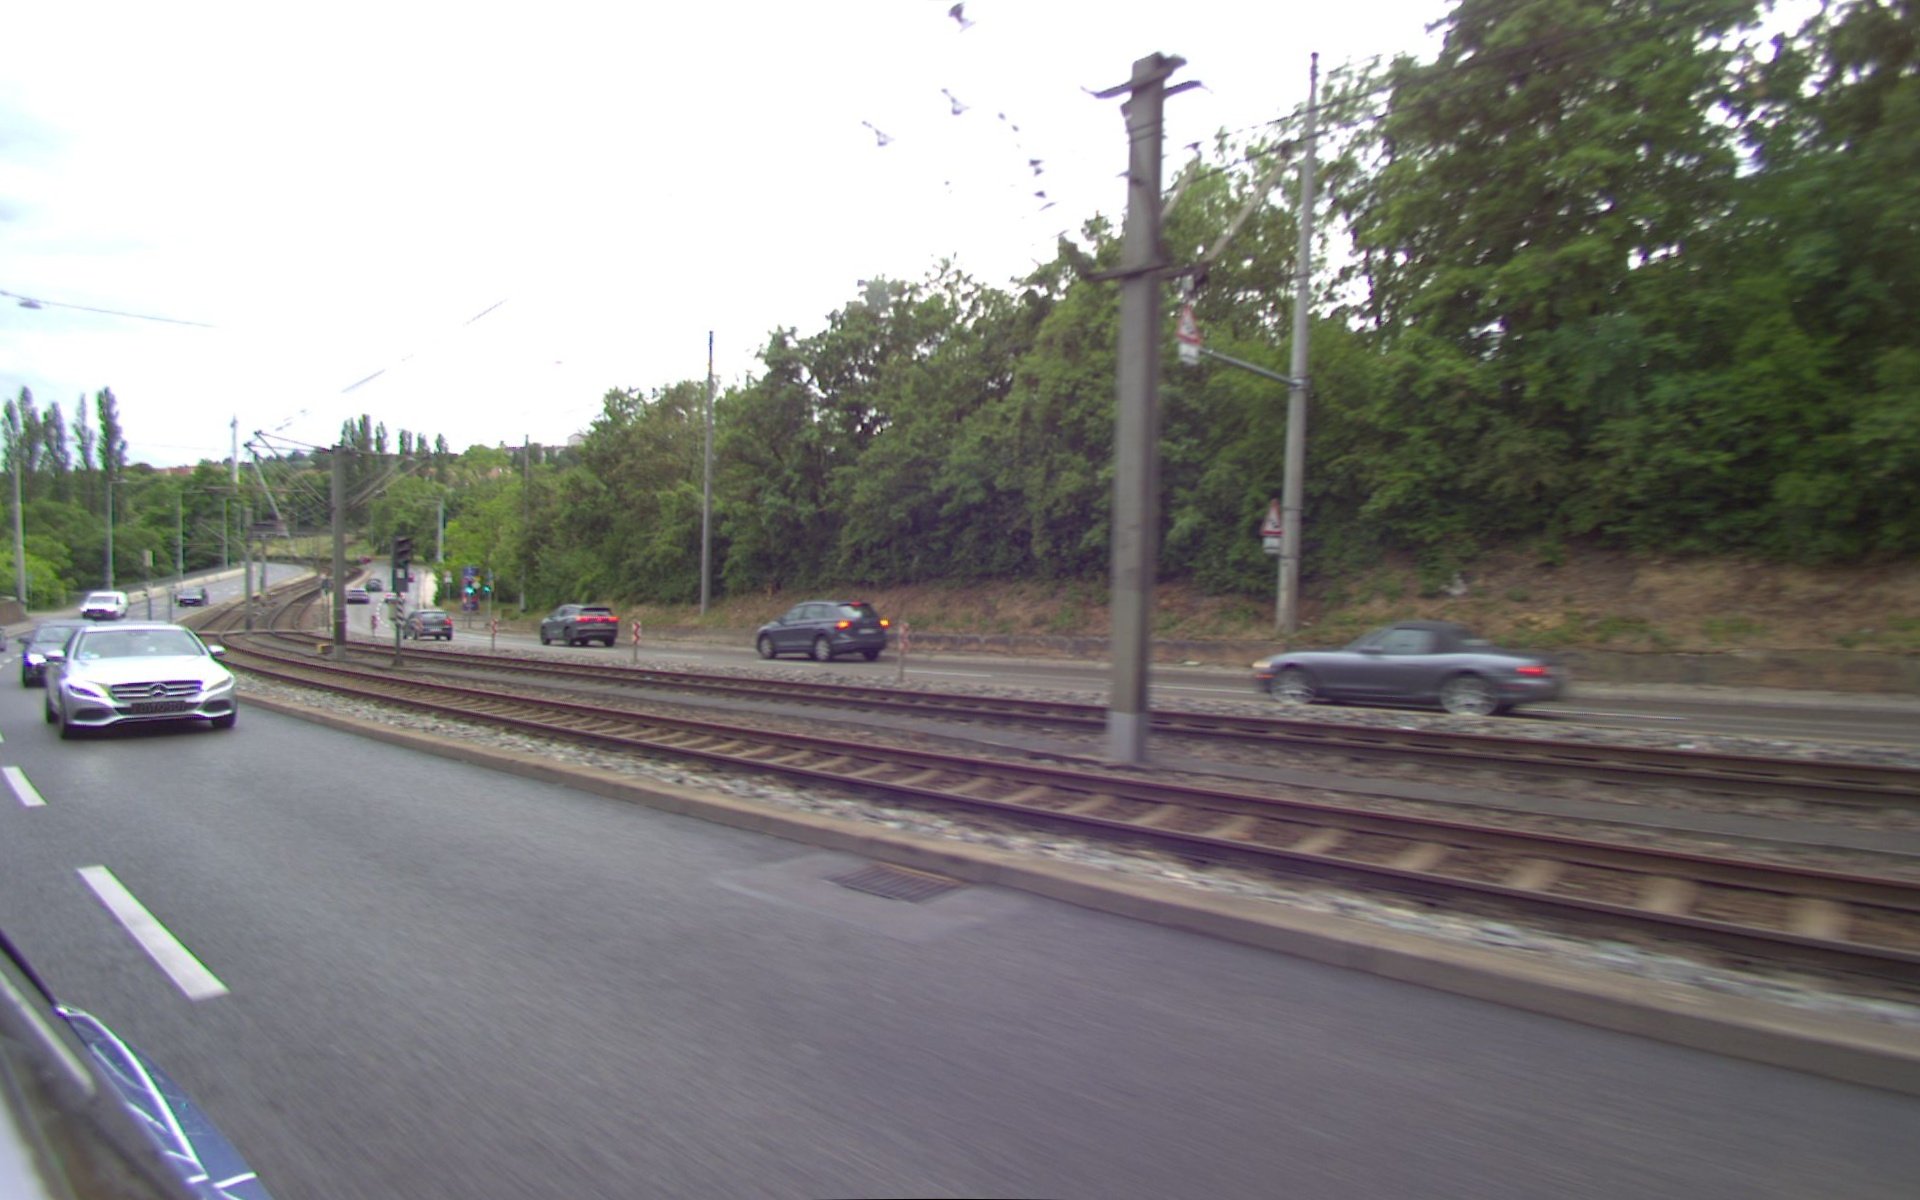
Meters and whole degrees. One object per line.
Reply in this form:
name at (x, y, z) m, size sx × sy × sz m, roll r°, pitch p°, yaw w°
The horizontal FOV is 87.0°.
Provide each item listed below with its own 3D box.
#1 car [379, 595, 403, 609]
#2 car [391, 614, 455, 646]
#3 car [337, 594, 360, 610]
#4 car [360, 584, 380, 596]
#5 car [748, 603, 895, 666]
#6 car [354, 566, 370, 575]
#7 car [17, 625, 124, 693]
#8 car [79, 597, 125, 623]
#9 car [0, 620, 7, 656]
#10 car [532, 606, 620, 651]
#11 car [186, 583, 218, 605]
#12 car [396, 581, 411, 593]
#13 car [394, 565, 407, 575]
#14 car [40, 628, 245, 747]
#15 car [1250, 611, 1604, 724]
car at (-57.542, 0.210, 102.261) m, size 1.794 × 1.390 × 4.718 m, roll 1°, pitch -1°, yaw -33°
car at (-25.491, 1.416, 48.019) m, size 1.685 × 1.425 × 4.036 m, roll -1°, pitch 0°, yaw -43°
car at (-59.559, 0.180, 98.591) m, size 1.836 × 1.449 × 4.870 m, roll -1°, pitch 2°, yaw -31°
car at (-68.491, -1.140, 117.446) m, size 1.611 × 1.395 × 3.903 m, roll 2°, pitch -1°, yaw -37°
car at (-3.888, 0.938, 27.935) m, size 4.413 × 1.620 × 1.688 m, roll -1°, pitch -2°, yaw 44°
car at (-115.141, -5.629, 194.748) m, size 1.825 × 1.609 × 4.741 m, roll 1°, pitch 2°, yaw -40°
car at (-20.614, 1.299, 23.402) m, size 1.711 × 1.362 × 4.003 m, roll -1°, pitch 0°, yaw -44°
car at (-63.440, 0.754, 74.869) m, size 1.739 × 1.830 × 4.013 m, roll -1°, pitch 0°, yaw -28°
car at (-41.843, 1.638, 42.915) m, size 1.741 × 1.512 × 4.008 m, roll 0°, pitch 0°, yaw -39°
car at (-15.404, 1.129, 40.456) m, size 1.762 × 1.682 × 4.746 m, roll 0°, pitch -1°, yaw -41°
car at (-67.006, -0.546, 89.469) m, size 1.739 × 1.830 × 4.012 m, roll -1°, pitch 0°, yaw -30°
car at (-75.992, -1.781, 138.295) m, size 1.692 × 1.469 × 4.290 m, roll 0°, pitch 2°, yaw -28°
car at (-99.984, -5.339, 180.776) m, size 1.796 × 1.526 × 4.543 m, roll 0°, pitch 4°, yaw -32°
car at (-11.420, 1.091, 14.035) m, size 1.845 × 1.366 × 4.063 m, roll 1°, pitch -1°, yaw -44°
car at (5.993, 0.805, 13.282) m, size 3.959 × 1.268 × 1.527 m, roll -1°, pitch -2°, yaw 43°
